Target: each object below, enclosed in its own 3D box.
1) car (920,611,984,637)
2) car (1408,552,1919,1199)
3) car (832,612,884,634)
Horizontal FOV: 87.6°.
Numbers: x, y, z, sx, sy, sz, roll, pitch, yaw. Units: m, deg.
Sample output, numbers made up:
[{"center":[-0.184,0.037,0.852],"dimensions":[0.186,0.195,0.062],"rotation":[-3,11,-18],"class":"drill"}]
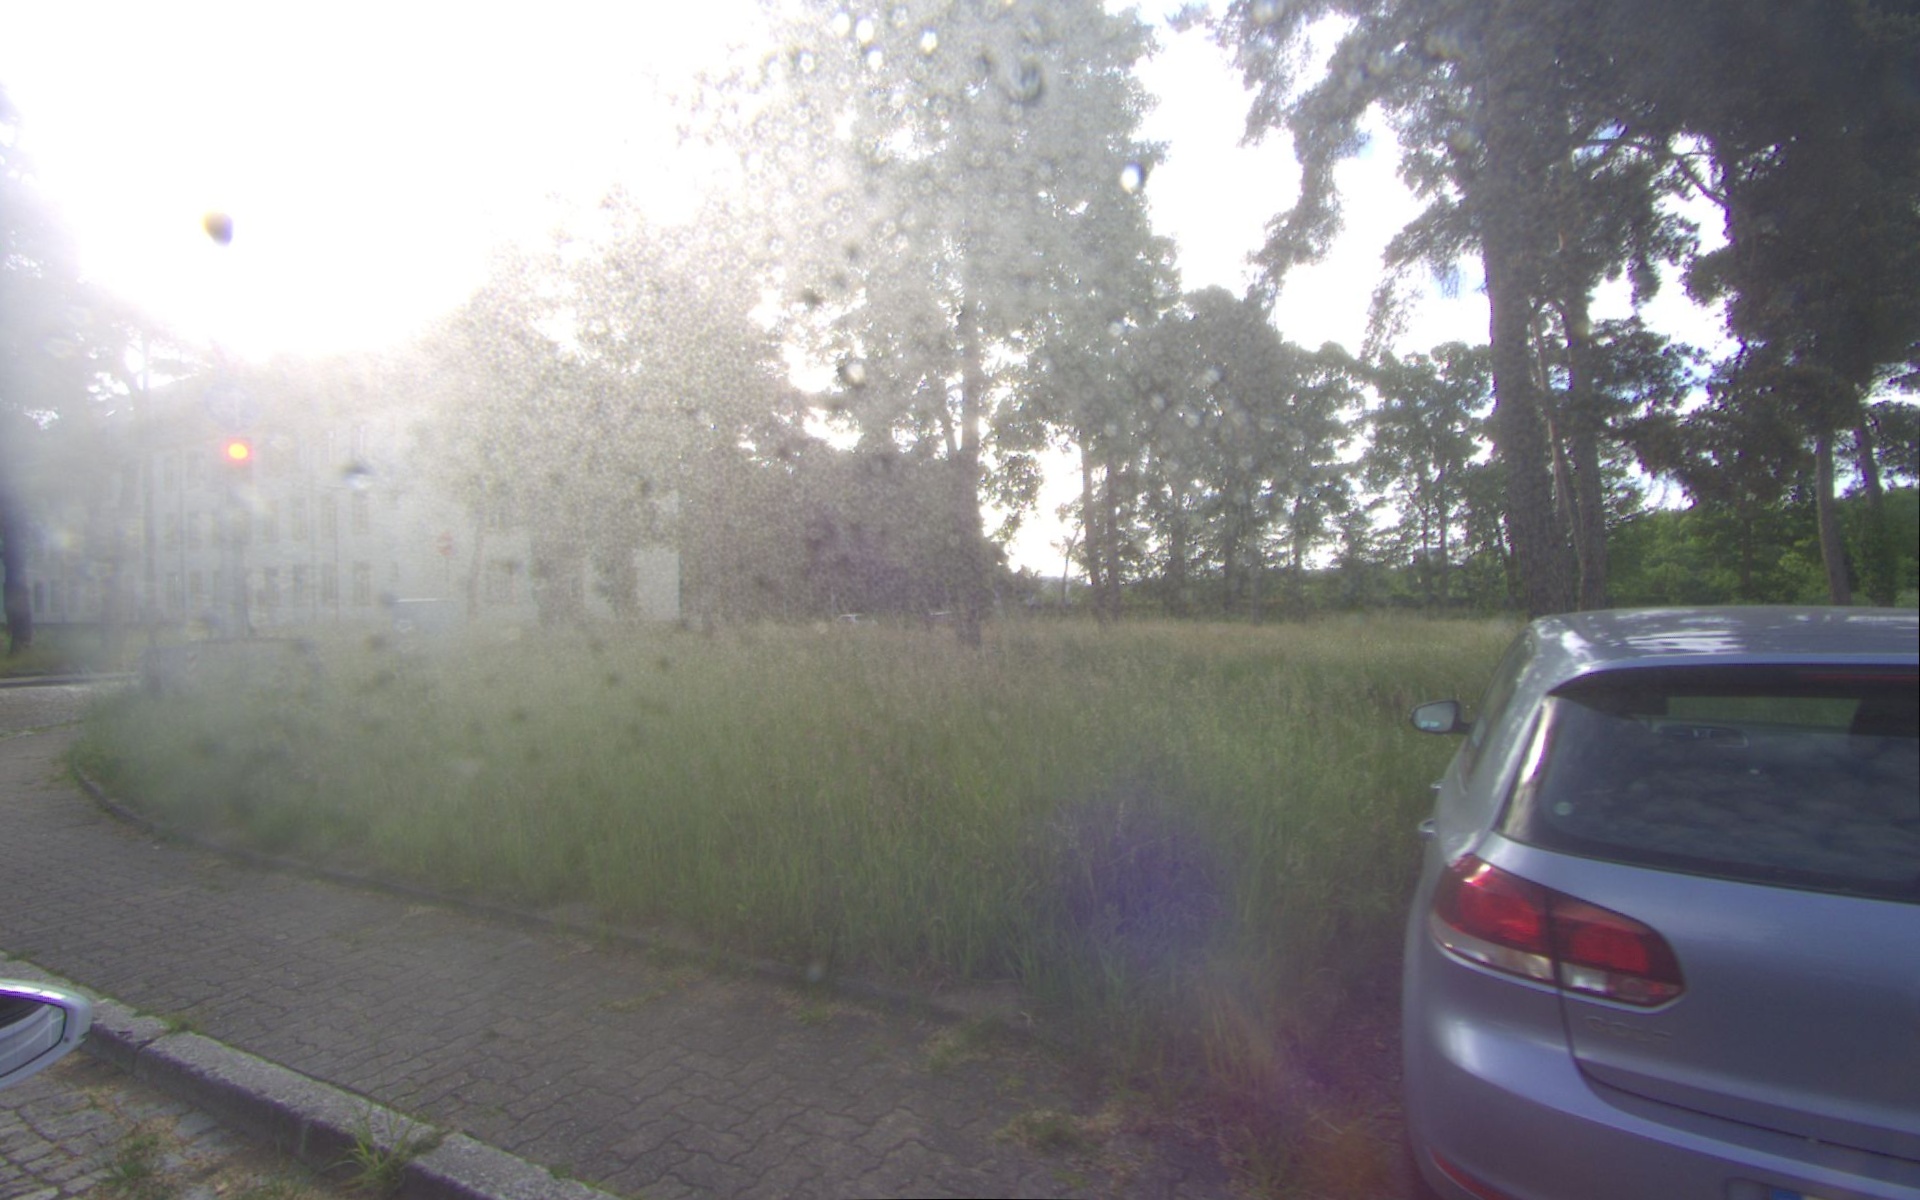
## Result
[{"center":[-0.555,1.518,64.826],"dimensions":[3.923,1.622,1.999],"rotation":[0,0,-7],"class":"car"},{"center":[2.440,0.686,3.183],"dimensions":[1.616,1.490,3.840],"rotation":[0,-1,28],"class":"car"},{"center":[-7.086,1.643,69.998],"dimensions":[1.540,1.415,3.984],"rotation":[-1,-3,30],"class":"car"}]
